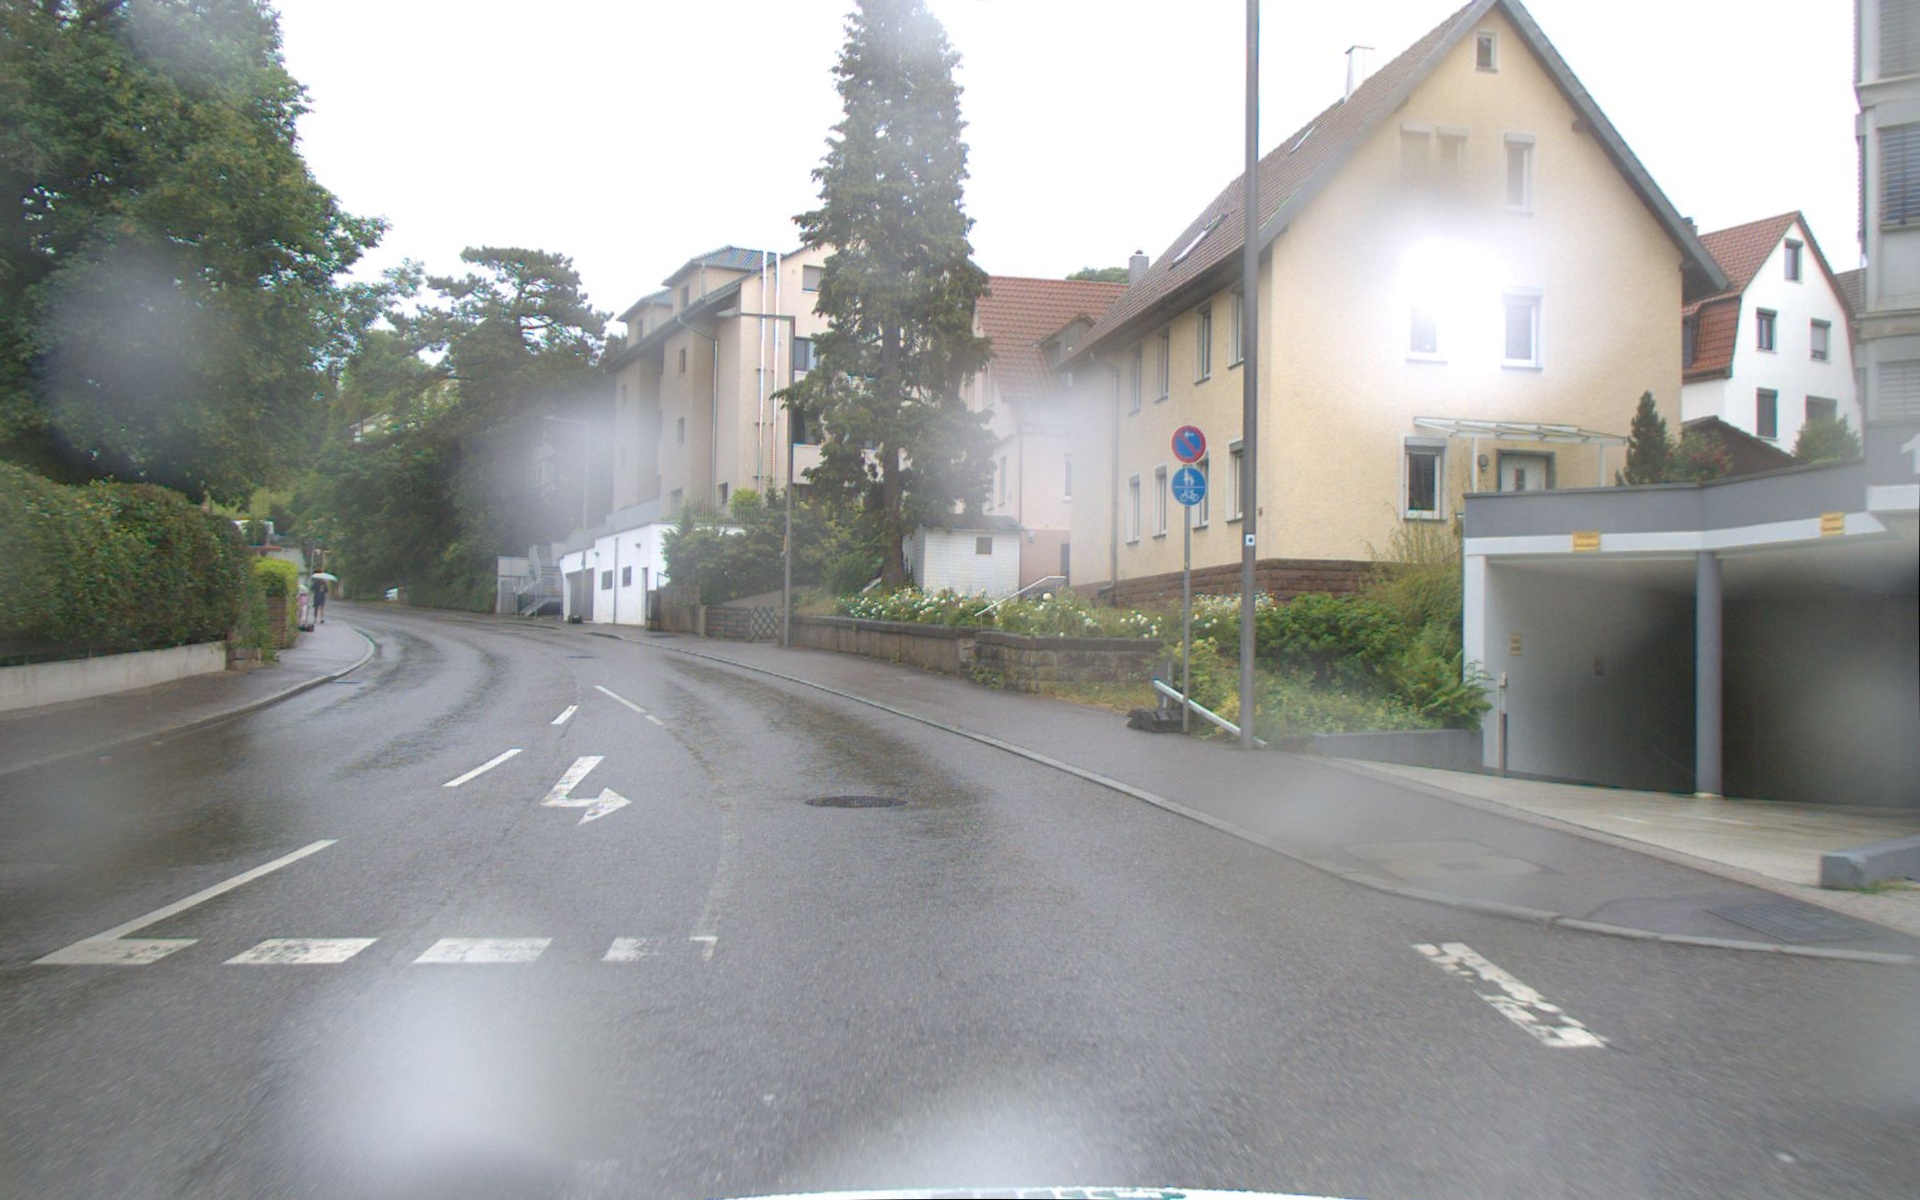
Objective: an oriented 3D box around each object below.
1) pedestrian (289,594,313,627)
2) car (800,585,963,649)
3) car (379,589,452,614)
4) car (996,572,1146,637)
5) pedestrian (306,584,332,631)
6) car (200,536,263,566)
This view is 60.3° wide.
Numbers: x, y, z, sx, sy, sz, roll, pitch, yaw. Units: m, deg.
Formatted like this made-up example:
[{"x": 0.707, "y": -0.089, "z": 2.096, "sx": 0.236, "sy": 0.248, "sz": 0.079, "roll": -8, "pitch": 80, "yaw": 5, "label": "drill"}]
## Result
[{"x": -24.885, "y": 0.392, "z": 62.465, "sx": 0.746, "sy": 1.200, "sz": 1.032, "roll": 4, "pitch": -2, "yaw": -23, "label": "pedestrian"}, {"x": -2.169, "y": 0.461, "z": 45.424, "sx": 4.240, "sy": 1.682, "sz": 1.958, "roll": 0, "pitch": 0, "yaw": -12, "label": "car"}, {"x": -34.268, "y": 0.076, "z": 104.119, "sx": 4.105, "sy": 1.502, "sz": 1.883, "roll": -1, "pitch": 1, "yaw": -33, "label": "car"}, {"x": 3.104, "y": 0.113, "z": 46.635, "sx": 3.788, "sy": 1.682, "sz": 1.956, "roll": -2, "pitch": 1, "yaw": -15, "label": "car"}, {"x": -23.783, "y": 0.268, "z": 61.348, "sx": 0.746, "sy": 1.672, "sz": 1.032, "roll": 5, "pitch": -2, "yaw": -23, "label": "pedestrian"}, {"x": -65.309, "y": -4.398, "z": 148.382, "sx": 4.905, "sy": 2.614, "sz": 1.880, "roll": -1, "pitch": 1, "yaw": -37, "label": "car"}]
